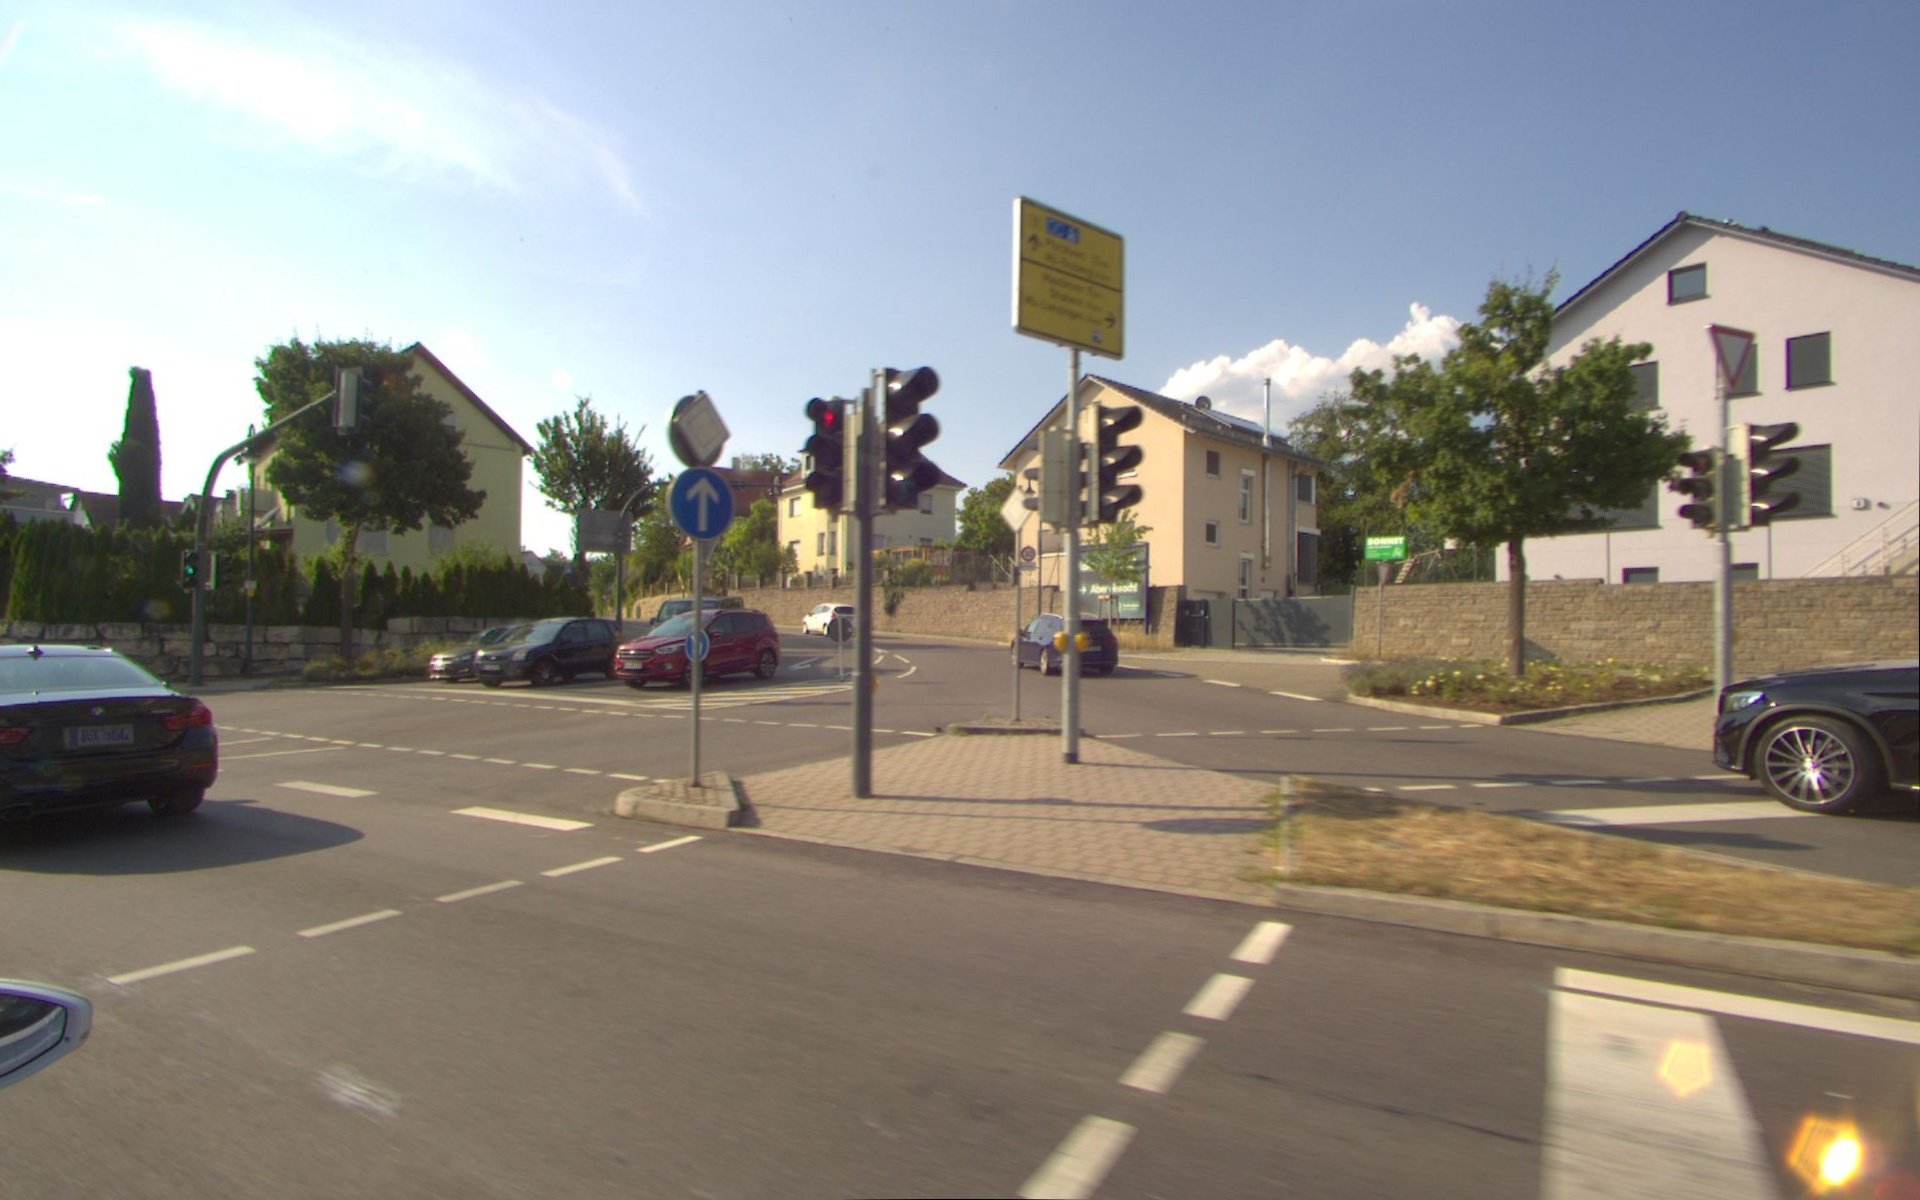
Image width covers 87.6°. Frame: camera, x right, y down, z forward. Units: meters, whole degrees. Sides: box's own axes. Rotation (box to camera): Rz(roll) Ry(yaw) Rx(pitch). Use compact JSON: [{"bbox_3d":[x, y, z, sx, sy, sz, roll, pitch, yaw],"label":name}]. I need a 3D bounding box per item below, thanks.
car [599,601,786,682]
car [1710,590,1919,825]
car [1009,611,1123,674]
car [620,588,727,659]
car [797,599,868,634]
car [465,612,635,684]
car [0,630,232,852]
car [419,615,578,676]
[{"bbox_3d":[-5.975,0.913,22.908,1.832,1.647,4.239,0,-1,26],"label":"car"},{"bbox_3d":[7.786,0.705,6.389,1.820,1.587,4.470,0,-1,-32],"label":"car"},{"bbox_3d":[2.537,1.006,25.074,1.604,1.428,4.274,0,-1,-12],"label":"car"},{"bbox_3d":[-8.644,0.727,30.742,1.961,1.957,5.180,0,-1,-2],"label":"car"},{"bbox_3d":[-5.815,0.767,45.363,1.841,1.513,3.981,1,-1,-29],"label":"car"},{"bbox_3d":[-9.602,1.070,23.734,1.571,1.562,3.790,0,-1,21],"label":"car"},{"bbox_3d":[-7.790,0.964,8.024,4.200,1.387,1.697,0,-1,31],"label":"car"},{"bbox_3d":[-12.173,1.166,26.628,1.601,1.469,3.595,-1,0,28],"label":"car"}]
